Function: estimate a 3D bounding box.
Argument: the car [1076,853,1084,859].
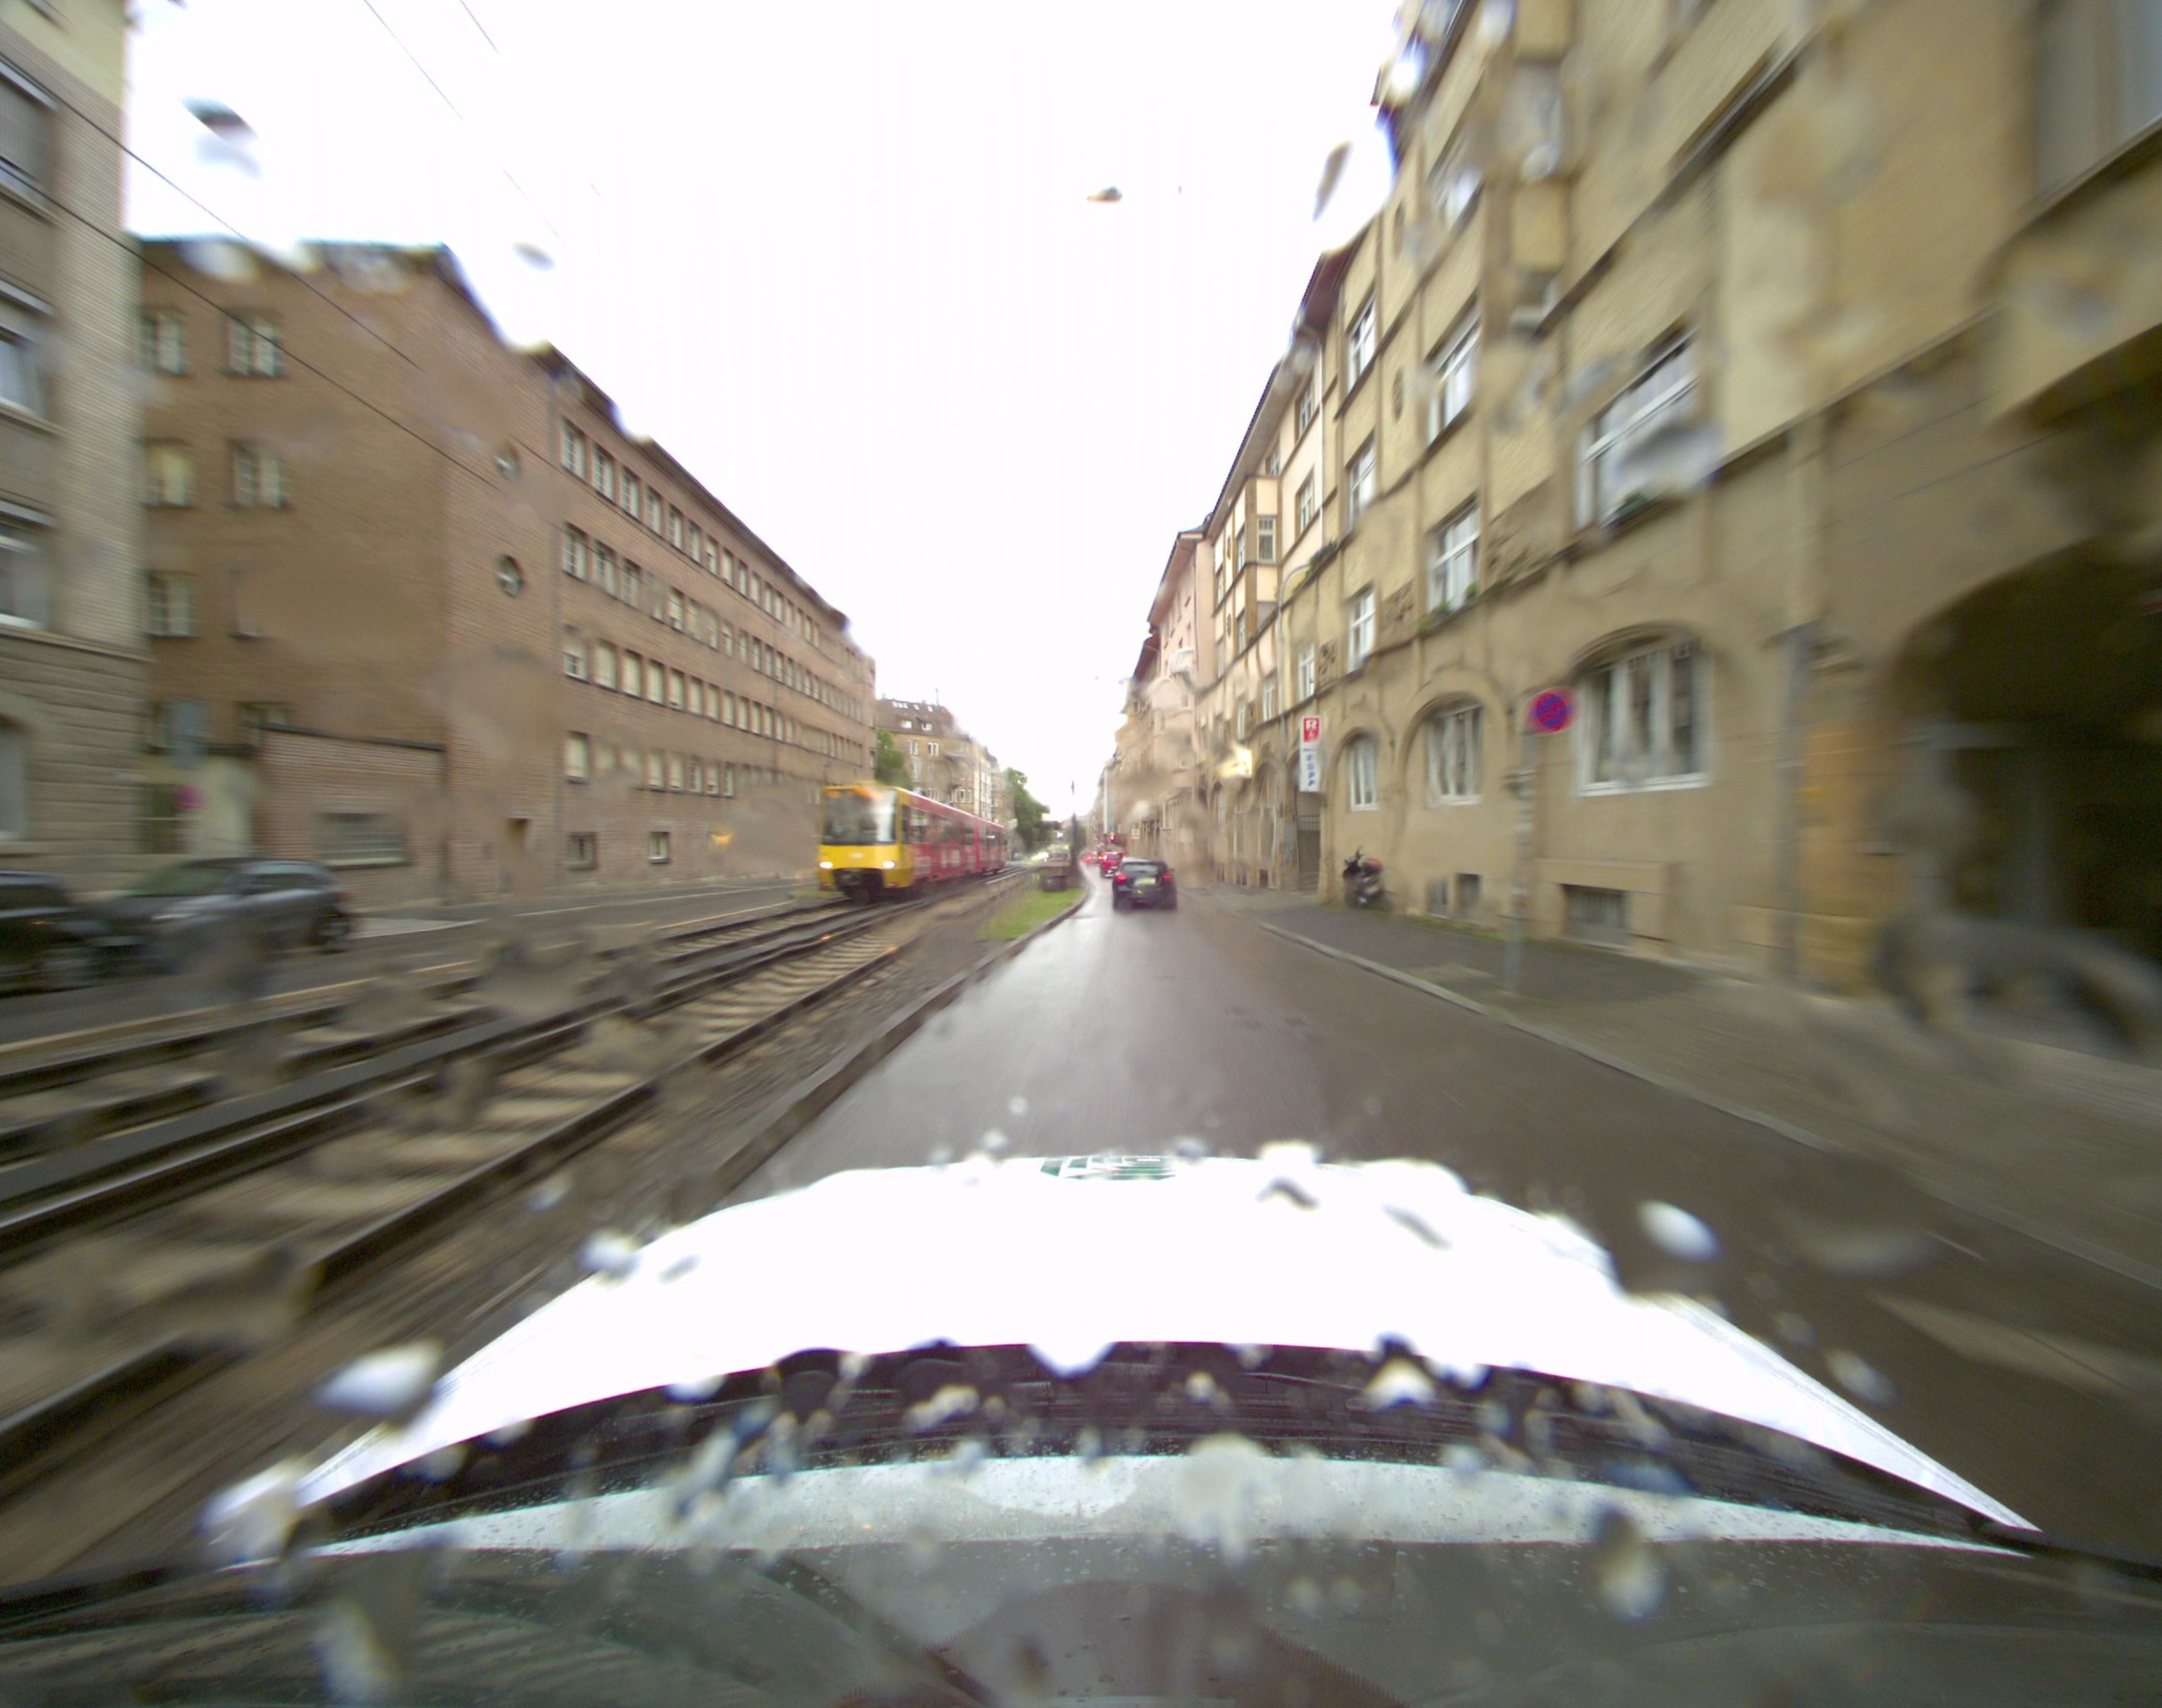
[{"bbox_3d":[-0.279,0.577,232.303,2.128,1.525,4.244,0,0,0],"label":"car"}]

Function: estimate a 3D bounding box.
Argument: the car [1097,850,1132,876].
[{"bbox_3d":[2.011,0.535,50.479,1.987,1.525,4.244,0,0,0],"label":"car"}]

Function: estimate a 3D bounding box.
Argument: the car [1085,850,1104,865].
[{"bbox_3d":[1.474,0.351,87.057,1.880,1.525,4.247,0,0,2],"label":"car"}]

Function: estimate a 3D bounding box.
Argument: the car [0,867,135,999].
[{"bbox_3d":[-12.587,0.880,8.271,1.661,1.415,3.686,0,0,-1],"label":"car"}]

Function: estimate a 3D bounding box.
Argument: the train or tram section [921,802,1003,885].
[{"bbox_3d":[-6.708,-0.538,48.541,2.737,4.061,15.654,-1,0,-1],"label":"train or tram section"}]

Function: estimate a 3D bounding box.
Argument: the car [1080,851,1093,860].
[{"bbox_3d":[0.965,0.322,138.281,2.128,1.525,4.244,0,0,0],"label":"car"}]

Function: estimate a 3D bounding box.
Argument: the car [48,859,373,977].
[{"bbox_3d":[-12.554,0.833,12.035,1.568,1.466,3.043,0,0,-2],"label":"car"}]

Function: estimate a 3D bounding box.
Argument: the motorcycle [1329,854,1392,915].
[{"bbox_3d":[5.955,0.607,17.466,0.554,1.160,2.269,-5,0,2],"label":"motorcycle"}]

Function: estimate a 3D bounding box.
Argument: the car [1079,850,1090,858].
[{"bbox_3d":[0.680,0.040,154.956,2.128,1.525,4.244,0,0,0],"label":"car"}]

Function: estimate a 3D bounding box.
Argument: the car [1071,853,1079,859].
[{"bbox_3d":[-1.580,0.616,214.499,2.128,1.525,4.244,0,0,0],"label":"car"}]

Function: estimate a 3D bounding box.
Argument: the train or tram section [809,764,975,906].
[{"bbox_3d":[-6.614,-0.575,32.291,2.737,4.061,17.206,-1,0,-1],"label":"train or tram section"}]

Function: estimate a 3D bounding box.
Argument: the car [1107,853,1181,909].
[{"bbox_3d":[1.724,0.721,23.484,1.829,1.453,3.901,-1,0,0],"label":"car"}]

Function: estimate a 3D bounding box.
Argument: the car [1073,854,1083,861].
[{"bbox_3d":[-0.670,0.737,183.818,2.128,1.525,4.244,0,0,0],"label":"car"}]
